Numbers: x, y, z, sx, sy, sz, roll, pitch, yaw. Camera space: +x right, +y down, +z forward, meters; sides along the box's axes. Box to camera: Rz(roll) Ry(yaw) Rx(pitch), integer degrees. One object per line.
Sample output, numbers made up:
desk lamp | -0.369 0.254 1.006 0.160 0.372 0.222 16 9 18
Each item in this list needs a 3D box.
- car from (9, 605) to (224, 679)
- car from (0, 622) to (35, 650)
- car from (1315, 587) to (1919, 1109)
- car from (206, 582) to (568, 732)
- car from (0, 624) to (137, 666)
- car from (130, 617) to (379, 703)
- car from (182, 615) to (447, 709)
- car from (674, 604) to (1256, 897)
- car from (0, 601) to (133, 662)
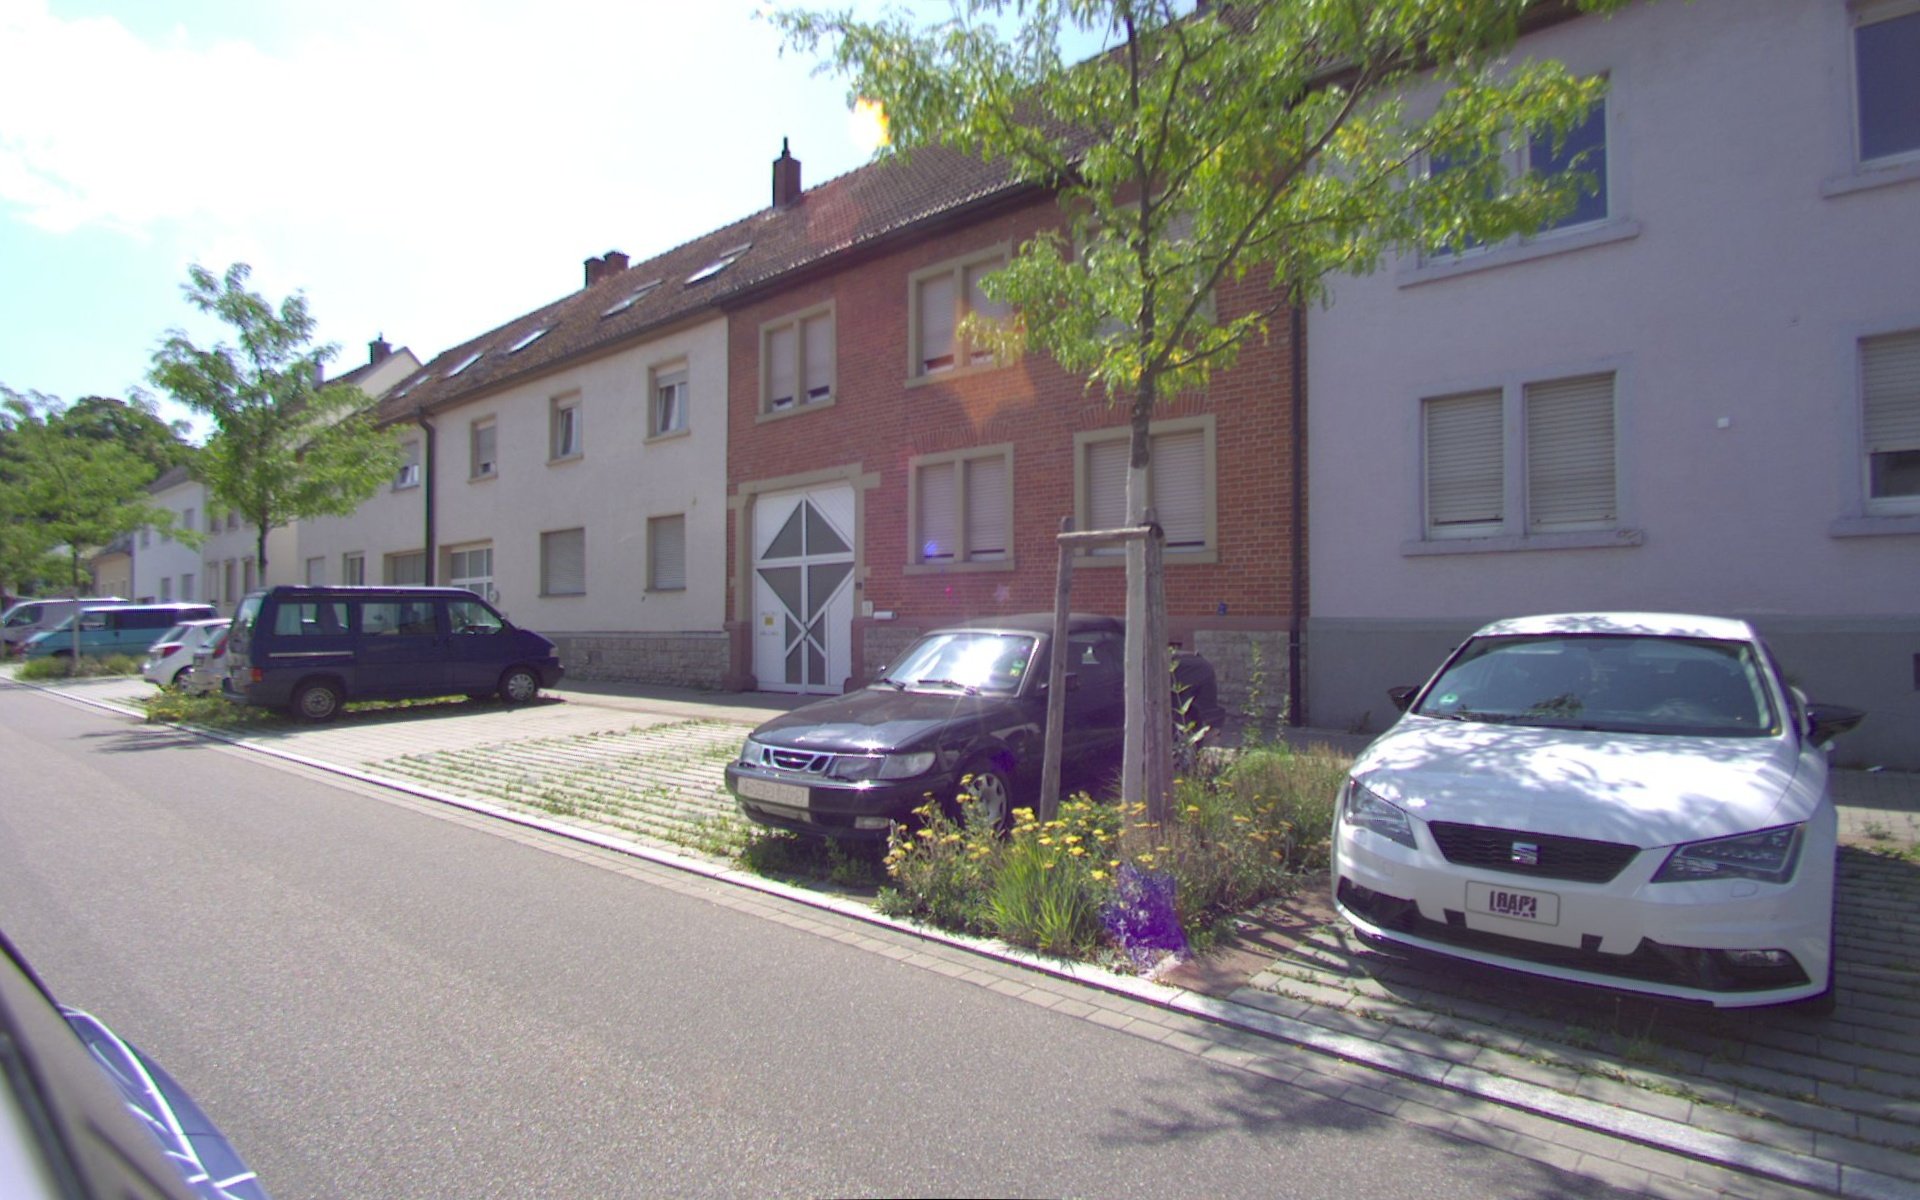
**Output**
car | -24.744 1.156 29.822 1.999 1.921 4.628 -1 0 41
car | -53.379 1.986 54.929 1.900 1.528 4.539 -1 -1 41
car | 3.334 0.711 4.987 1.773 1.489 4.014 -1 -1 38
car | -8.810 0.760 15.870 1.953 2.011 4.563 -1 -1 43
car | -33.886 1.667 38.513 1.725 1.396 3.743 -1 0 41
car | -14.254 1.135 20.589 1.772 1.500 3.873 -1 -1 43
car | -11.962 1.067 18.920 1.772 1.500 3.873 -1 -1 43
car | 0.355 0.785 7.415 1.795 1.436 4.477 -1 -1 41
car | -36.856 1.240 40.787 2.155 2.305 5.116 -1 0 39
